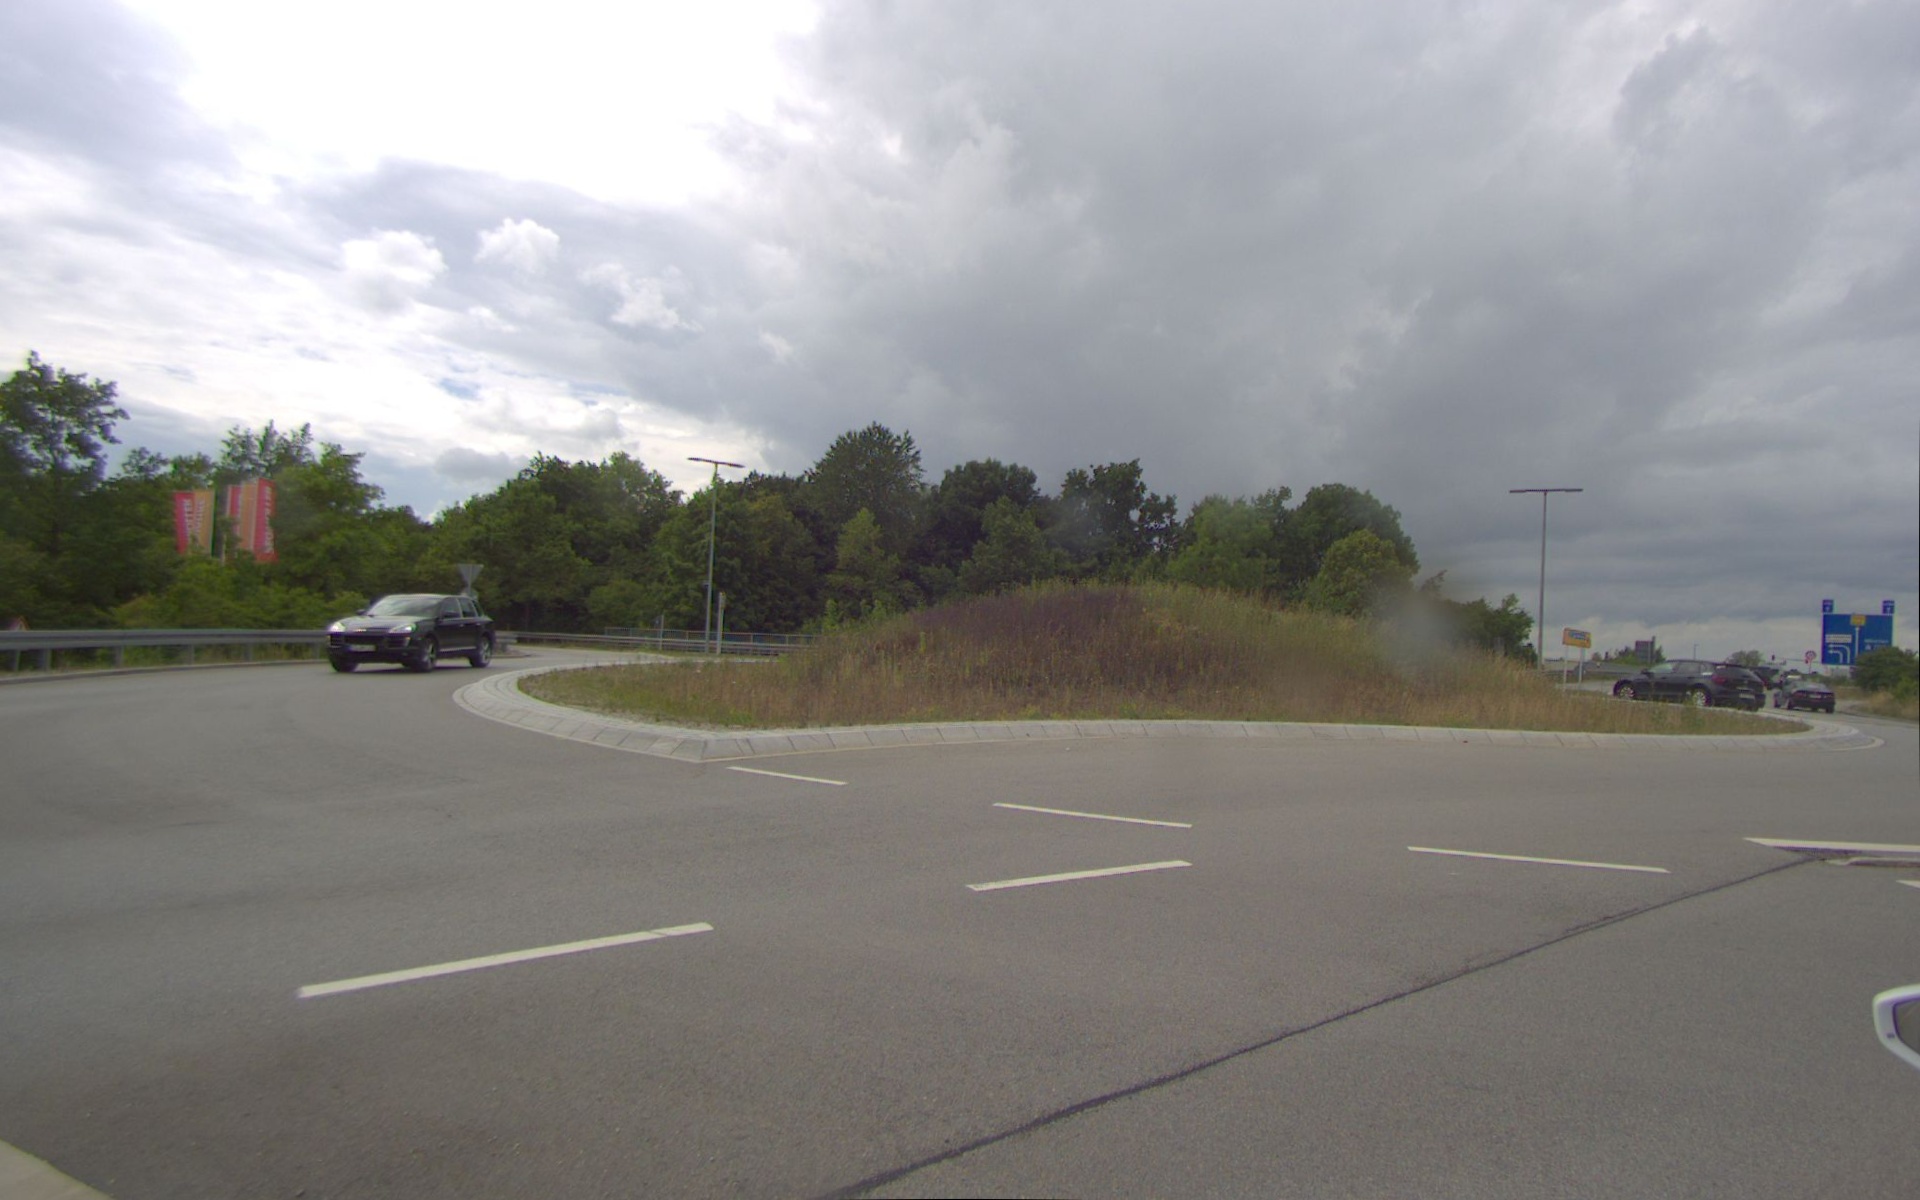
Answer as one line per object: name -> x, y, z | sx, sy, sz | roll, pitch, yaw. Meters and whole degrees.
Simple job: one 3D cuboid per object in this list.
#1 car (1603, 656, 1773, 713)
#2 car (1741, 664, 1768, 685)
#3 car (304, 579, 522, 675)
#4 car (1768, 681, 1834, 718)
car -> 21.099, 2.405, 29.314 | 1.637, 1.396, 3.993 | 2, -2, -10
car -> 68.314, 6.378, 86.412 | 1.577, 1.569, 4.033 | 1, -2, 35
car -> -12.182, 0.529, 22.860 | 2.064, 1.814, 5.051 | 4, 0, 1
car -> 38.956, 4.588, 46.591 | 1.495, 1.504, 3.613 | 3, -2, 27
